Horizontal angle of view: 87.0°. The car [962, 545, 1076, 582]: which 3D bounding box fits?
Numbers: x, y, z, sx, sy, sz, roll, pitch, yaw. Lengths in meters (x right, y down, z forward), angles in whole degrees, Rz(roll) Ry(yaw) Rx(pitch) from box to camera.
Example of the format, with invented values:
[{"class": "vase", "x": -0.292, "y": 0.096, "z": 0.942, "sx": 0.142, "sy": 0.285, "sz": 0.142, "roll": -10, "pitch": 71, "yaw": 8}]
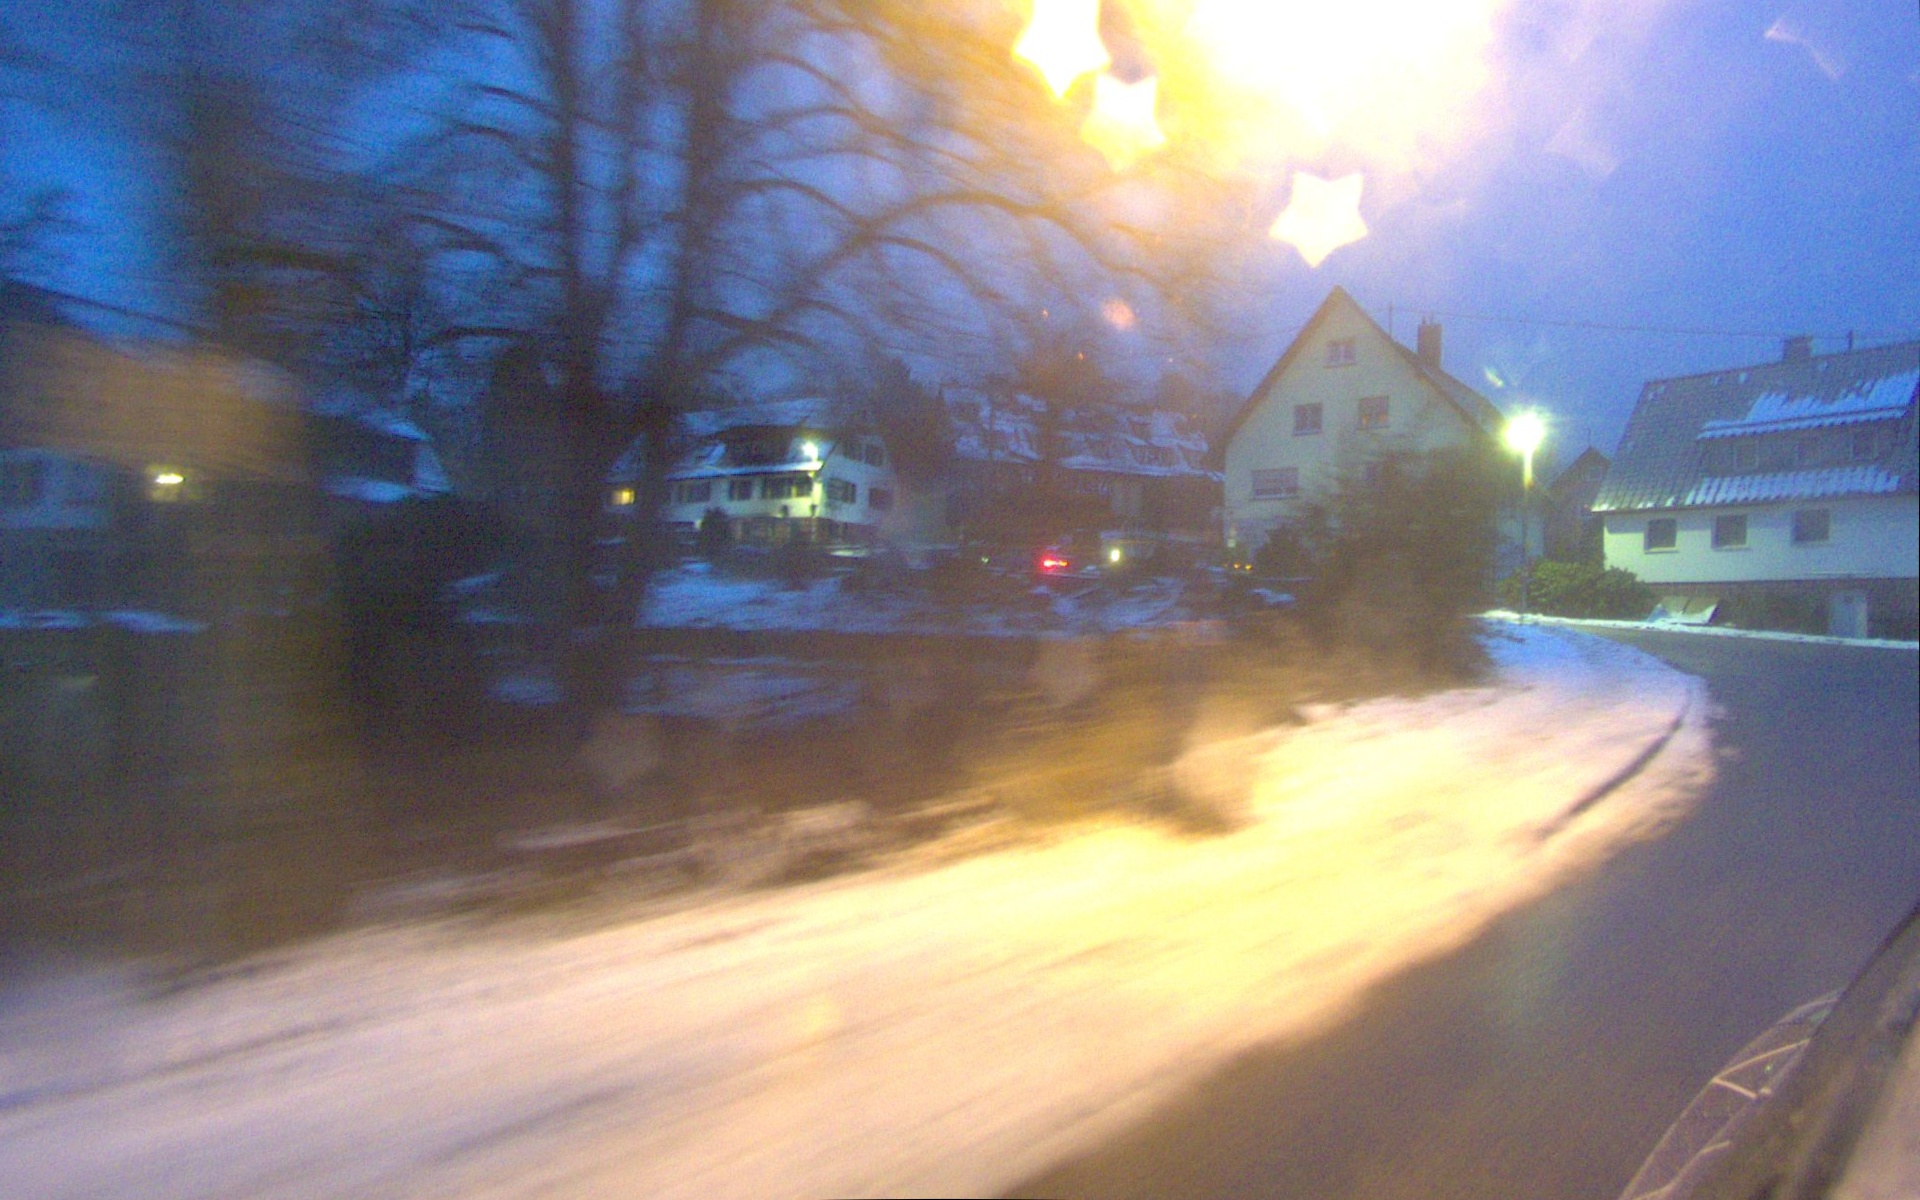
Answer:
[{"class": "car", "x": 2.574, "y": -1.646, "z": 44.818, "sx": 4.920, "sy": 1.398, "sz": 1.968, "roll": 5, "pitch": 3, "yaw": 44}]
